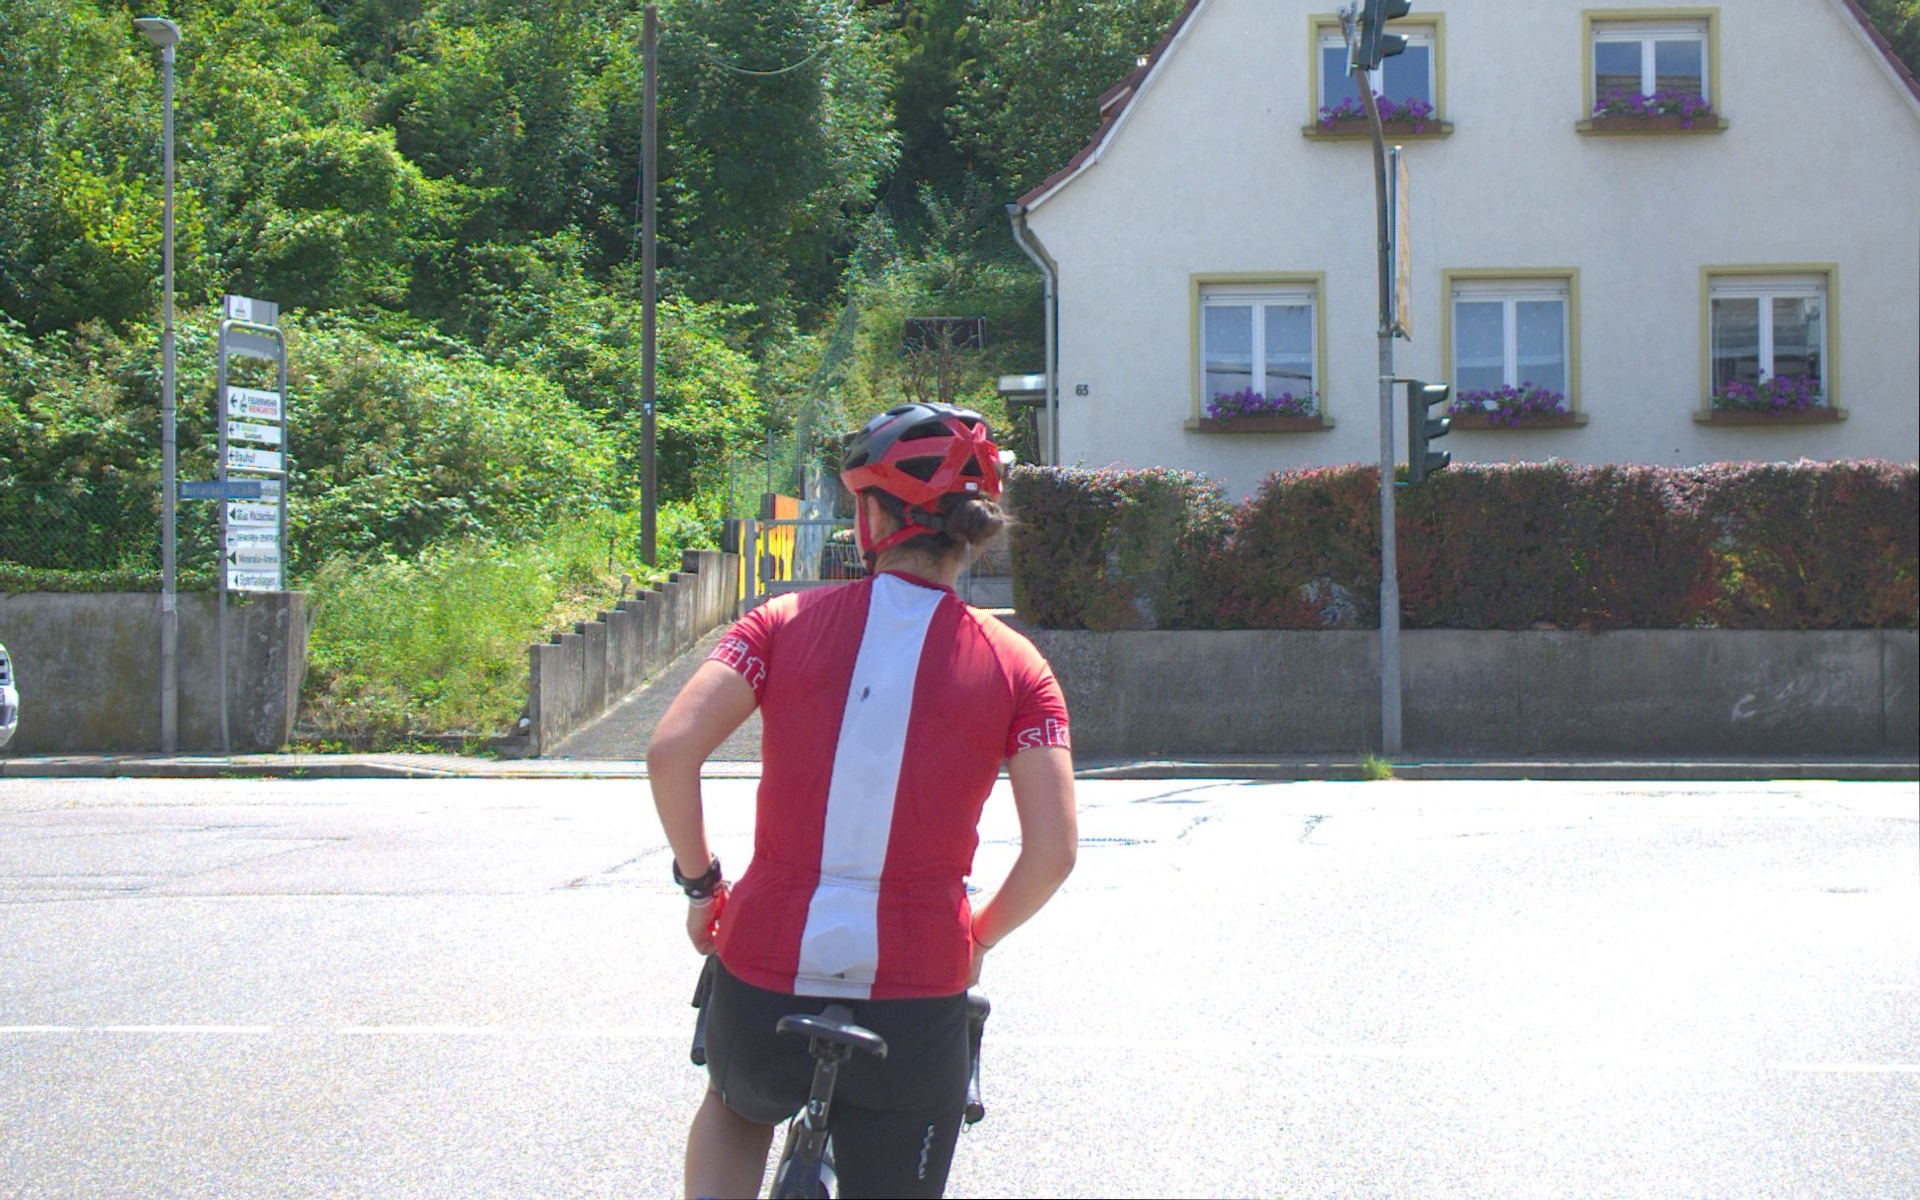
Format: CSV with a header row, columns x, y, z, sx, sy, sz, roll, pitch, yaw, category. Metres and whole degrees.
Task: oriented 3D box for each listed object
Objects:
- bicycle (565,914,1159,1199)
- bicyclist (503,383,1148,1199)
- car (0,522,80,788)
x,y,z,sx,sy,sz,roll,pitch,yaw,category
-0.171,0.950,4.486,0.629,0.902,1.657,1,1,-4,bicycle
-0.199,0.571,4.588,0.760,1.659,0.869,1,1,-4,bicyclist
-8.927,0.412,23.706,5.302,1.769,1.977,-1,1,20,car
